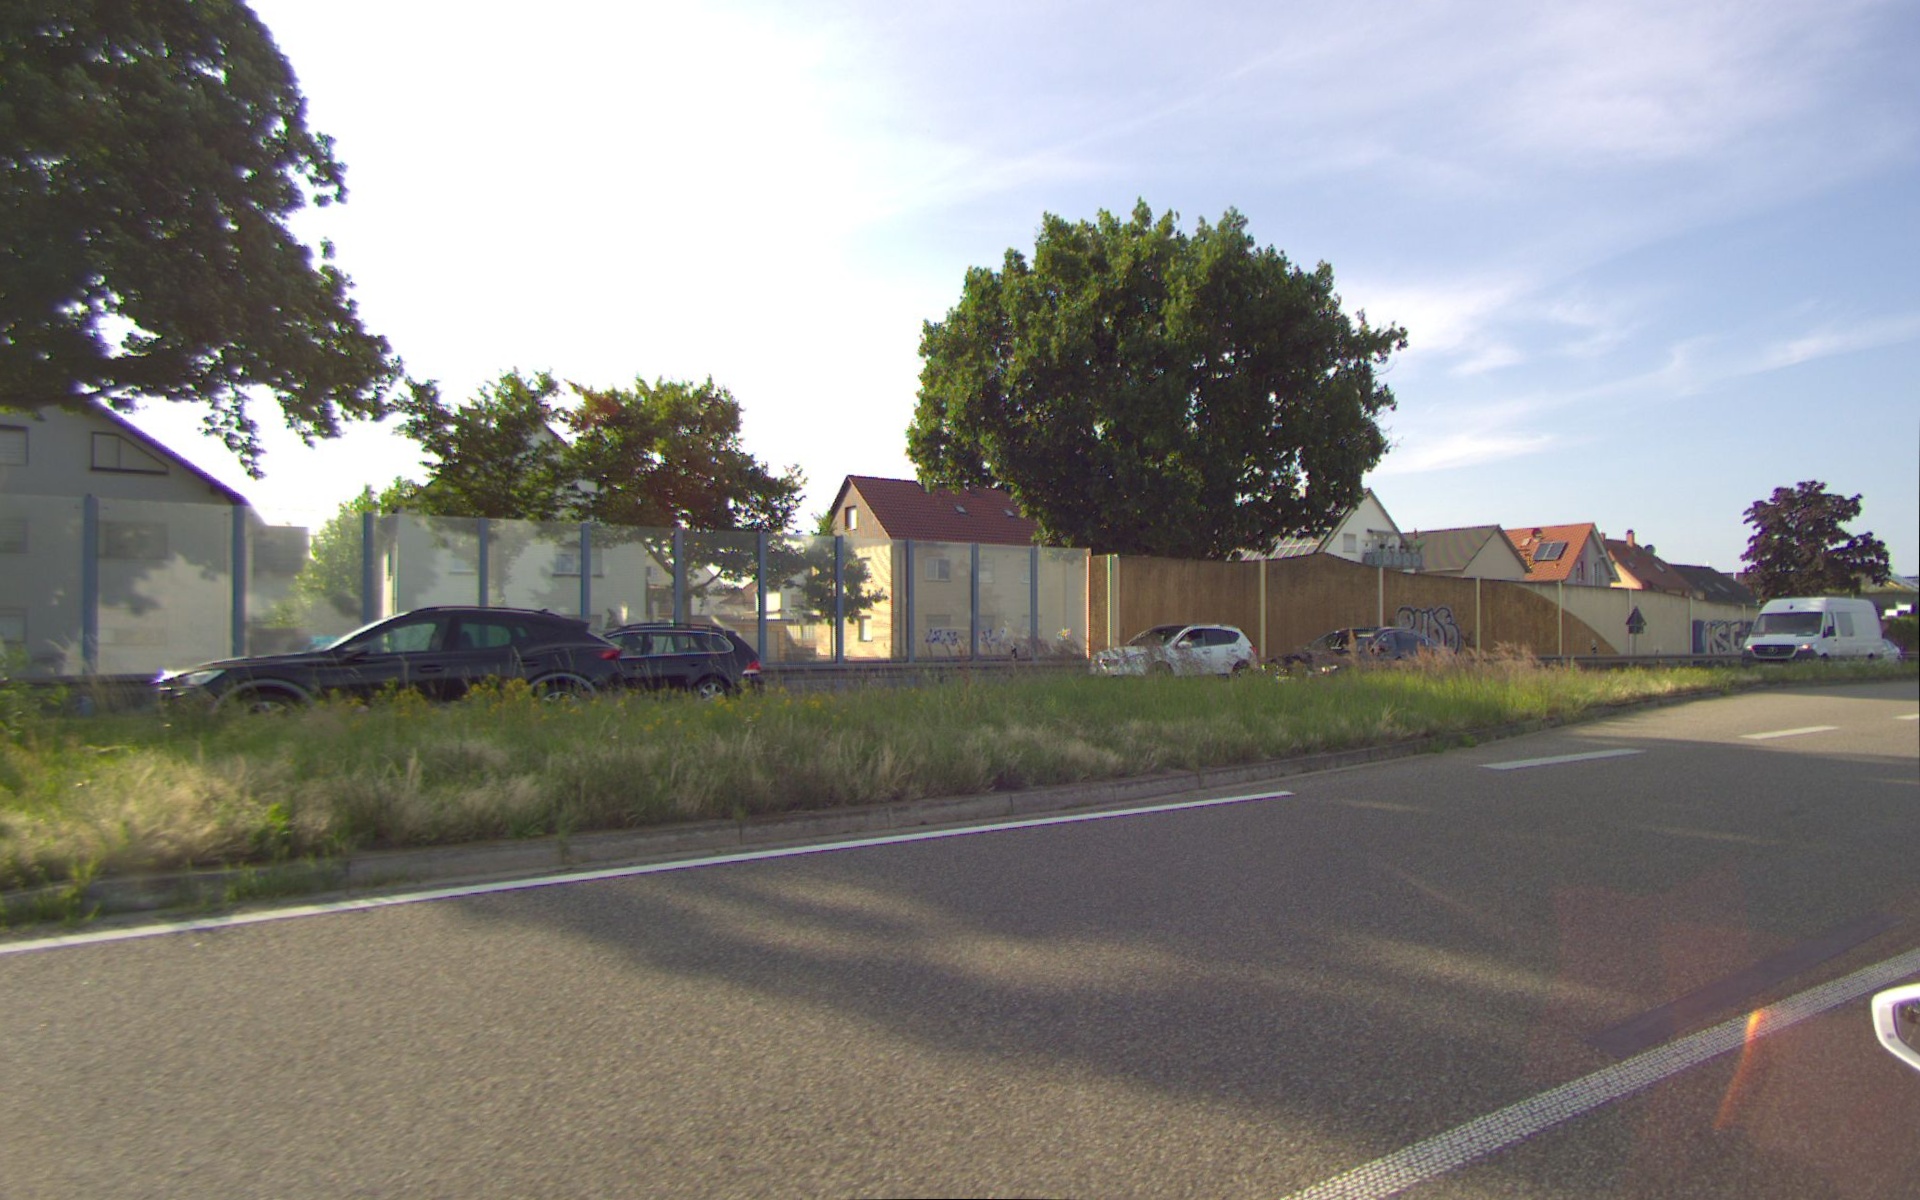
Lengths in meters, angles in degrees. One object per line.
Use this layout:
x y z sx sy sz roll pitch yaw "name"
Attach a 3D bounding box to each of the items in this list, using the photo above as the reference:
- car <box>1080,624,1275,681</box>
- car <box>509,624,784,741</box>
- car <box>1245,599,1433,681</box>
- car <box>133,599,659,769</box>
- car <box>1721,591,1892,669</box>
4.936 1.133 22.649 4.362 1.120 1.660 1 0 -31 "car"
-5.034 1.237 16.276 3.956 1.639 1.725 1 0 -32 "car"
7.465 0.751 19.725 3.527 1.461 1.640 1 0 -32 "car"
-5.742 0.775 10.743 4.607 1.485 1.506 1 0 -32 "car"
27.959 0.951 33.068 7.113 2.334 2.334 1 0 -33 "car"
